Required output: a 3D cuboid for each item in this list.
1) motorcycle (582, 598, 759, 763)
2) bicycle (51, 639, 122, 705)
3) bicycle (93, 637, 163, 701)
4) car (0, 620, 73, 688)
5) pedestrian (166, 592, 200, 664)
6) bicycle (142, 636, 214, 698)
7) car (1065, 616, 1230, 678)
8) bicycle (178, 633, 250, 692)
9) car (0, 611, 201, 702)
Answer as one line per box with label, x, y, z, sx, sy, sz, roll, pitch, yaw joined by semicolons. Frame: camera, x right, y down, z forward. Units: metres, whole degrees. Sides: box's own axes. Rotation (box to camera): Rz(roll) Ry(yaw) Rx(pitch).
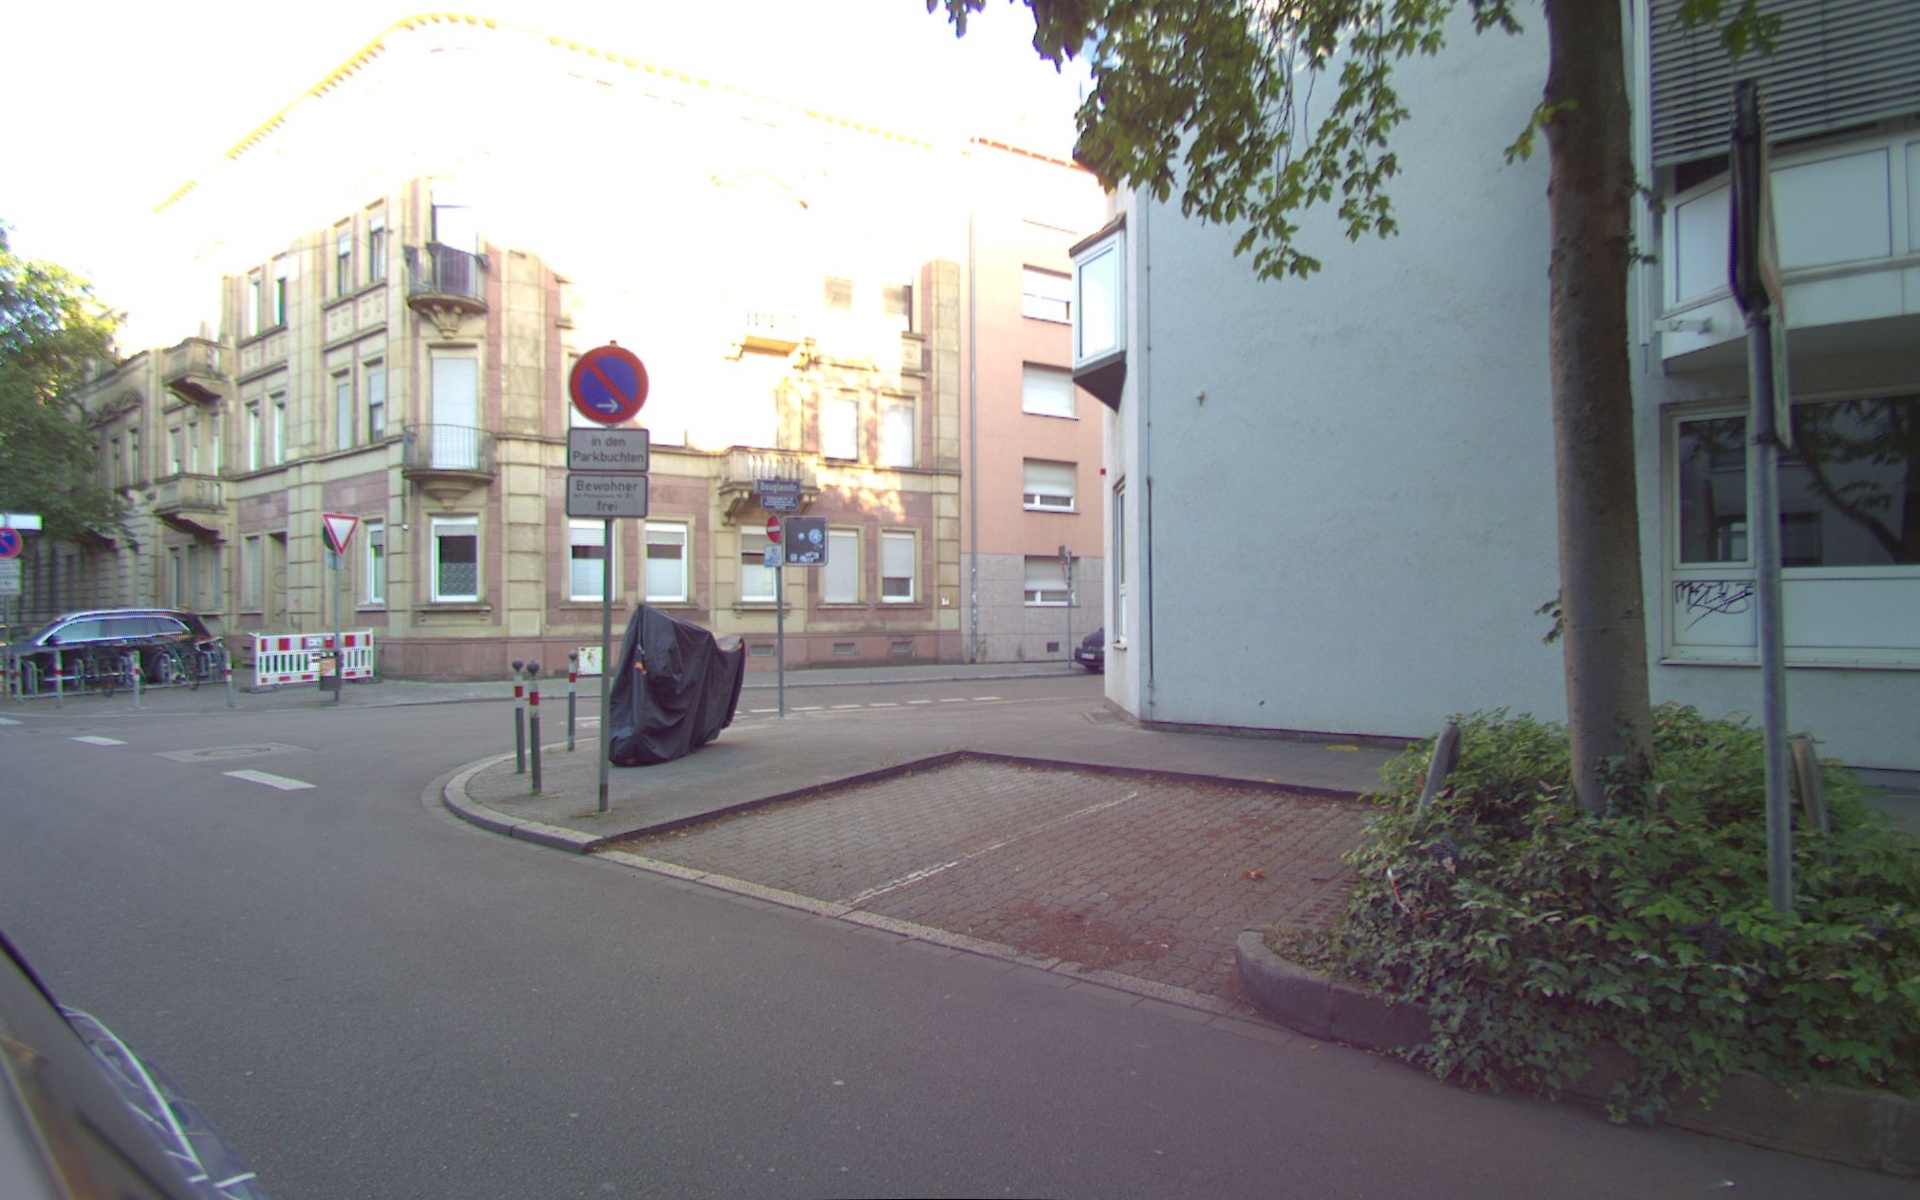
motorcycle;-2.911;0.763;10.478;0.810;1.516;2.274;-1;-1;12
bicycle;-16.580;1.340;19.191;2.035;1.159;0.555;-1;-1;36
bicycle;-16.212;1.317;19.710;2.035;1.159;0.555;-1;-1;36
car;-25.098;1.359;25.304;1.741;1.690;4.188;-1;-2;41
pedestrian;-20.246;0.725;26.357;0.650;1.821;0.565;-1;-1;40
bicycle;-15.723;1.320;20.324;2.035;1.159;0.555;-1;-1;35
car;5.014;1.197;26.901;4.296;1.529;1.790;1;-2;-34
bicycle;-15.355;1.260;20.817;2.035;1.159;0.555;-1;-1;35
car;-18.824;1.136;21.212;1.740;1.795;4.367;-1;-2;39
